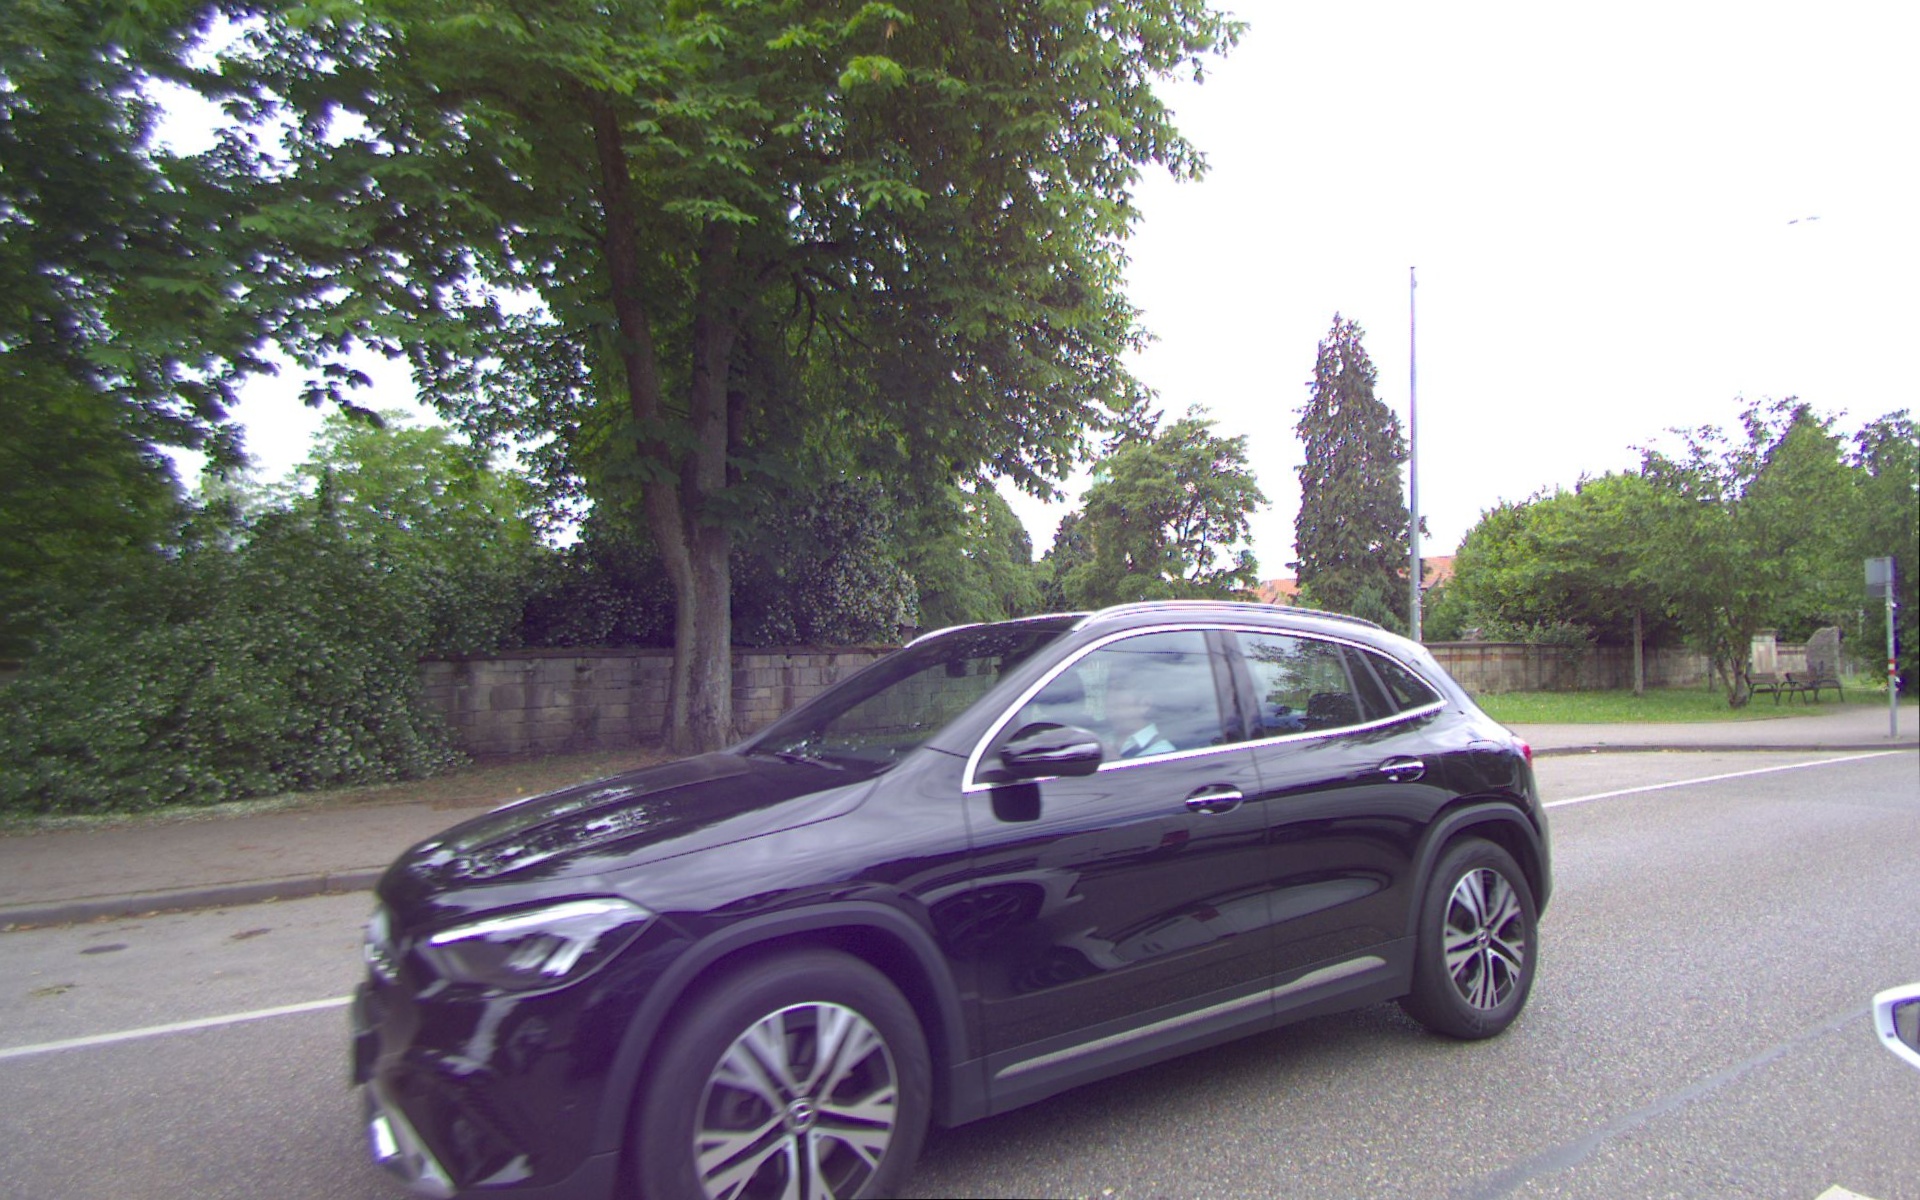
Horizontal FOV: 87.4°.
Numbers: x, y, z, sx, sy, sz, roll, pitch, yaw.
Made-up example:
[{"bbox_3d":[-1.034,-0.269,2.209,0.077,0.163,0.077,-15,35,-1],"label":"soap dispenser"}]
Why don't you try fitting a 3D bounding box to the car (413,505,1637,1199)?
[{"bbox_3d":[0.394,0.772,3.778,4.255,1.678,1.851,1,-5,-30],"label":"car"}]
